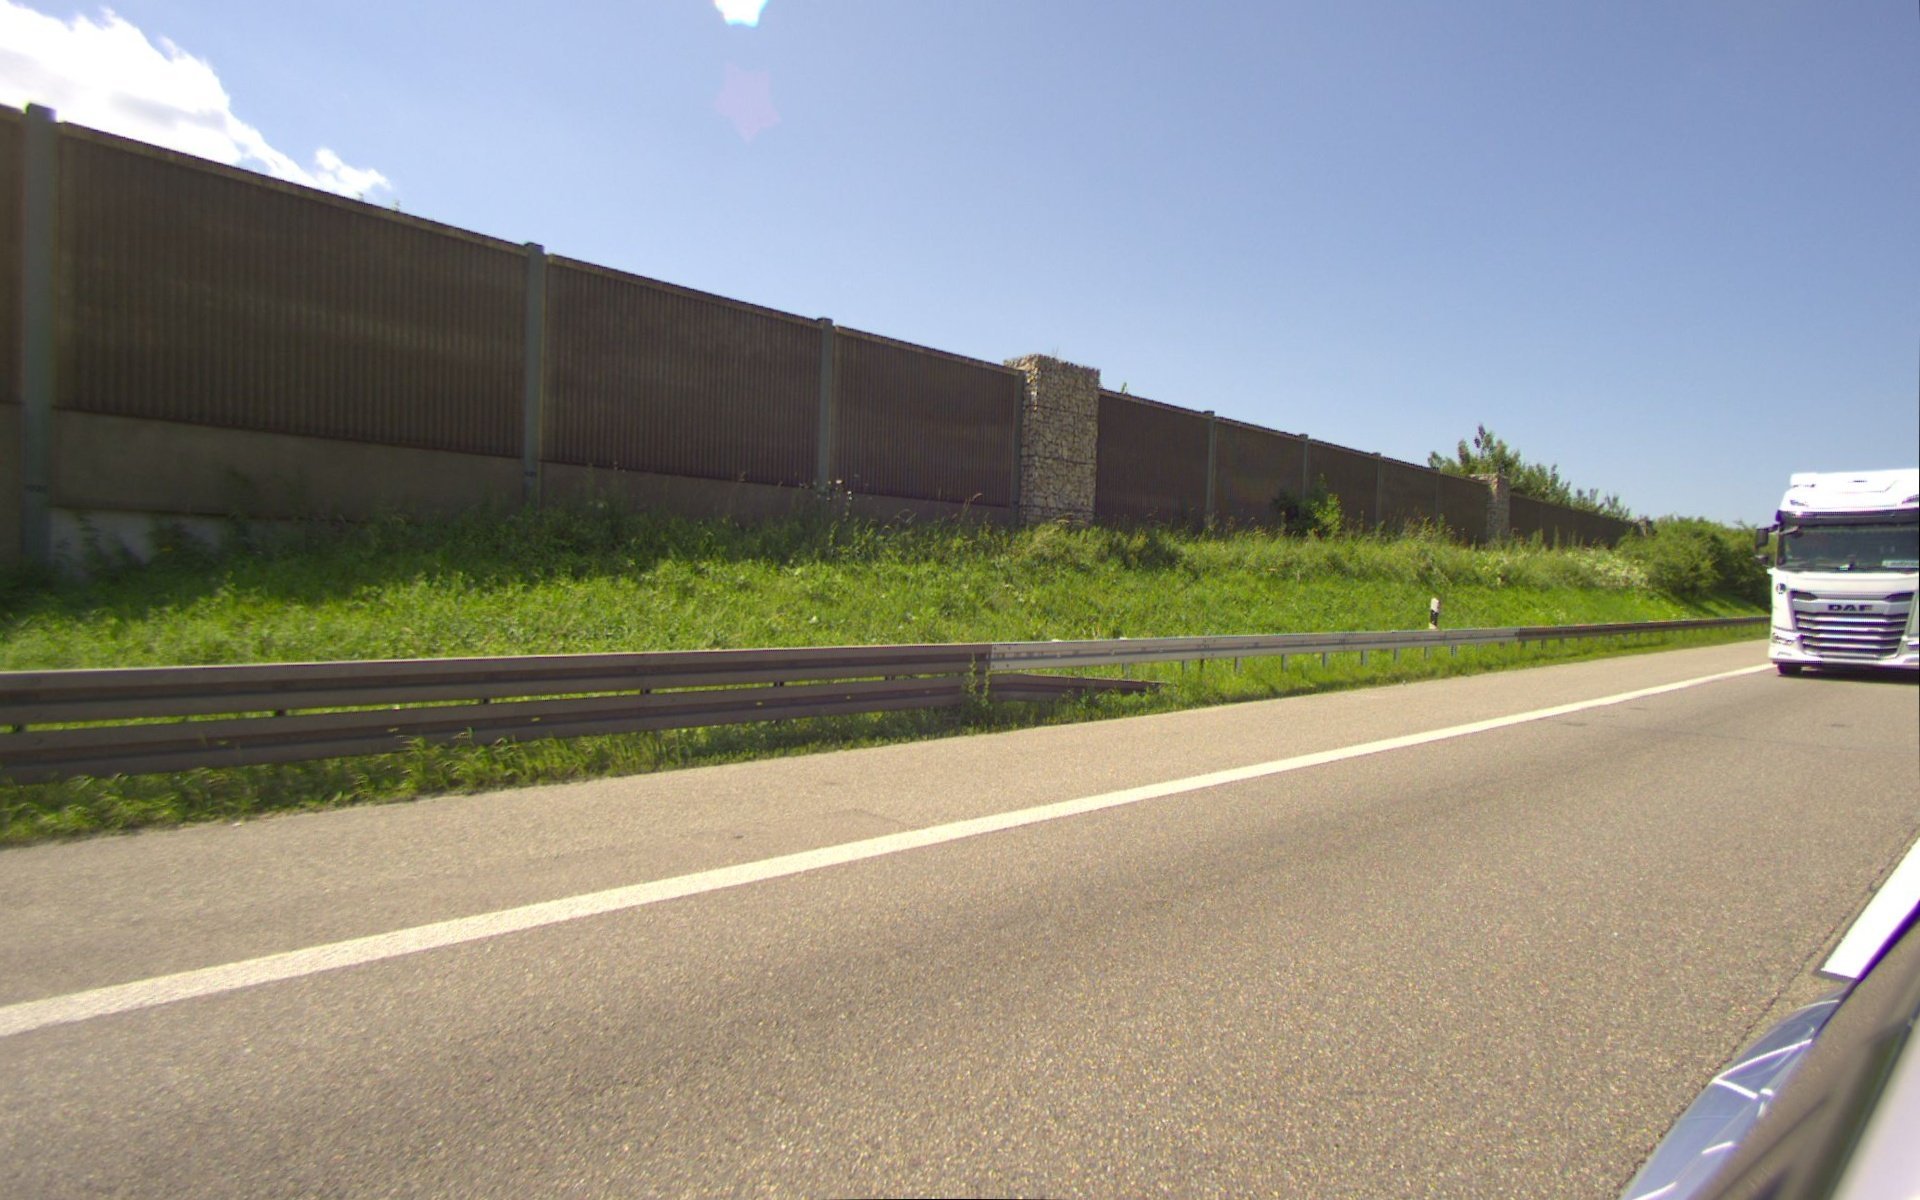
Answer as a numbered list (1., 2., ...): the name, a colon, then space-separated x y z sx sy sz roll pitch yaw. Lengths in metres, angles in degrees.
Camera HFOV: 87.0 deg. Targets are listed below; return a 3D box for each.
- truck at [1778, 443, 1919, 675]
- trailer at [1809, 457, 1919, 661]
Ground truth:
1. truck: 18.479 -0.740 20.135 6.272 4.027 2.481 0 1 -42
2. trailer: 23.592 -0.855 24.828 13.422 4.027 2.481 0 1 -42
